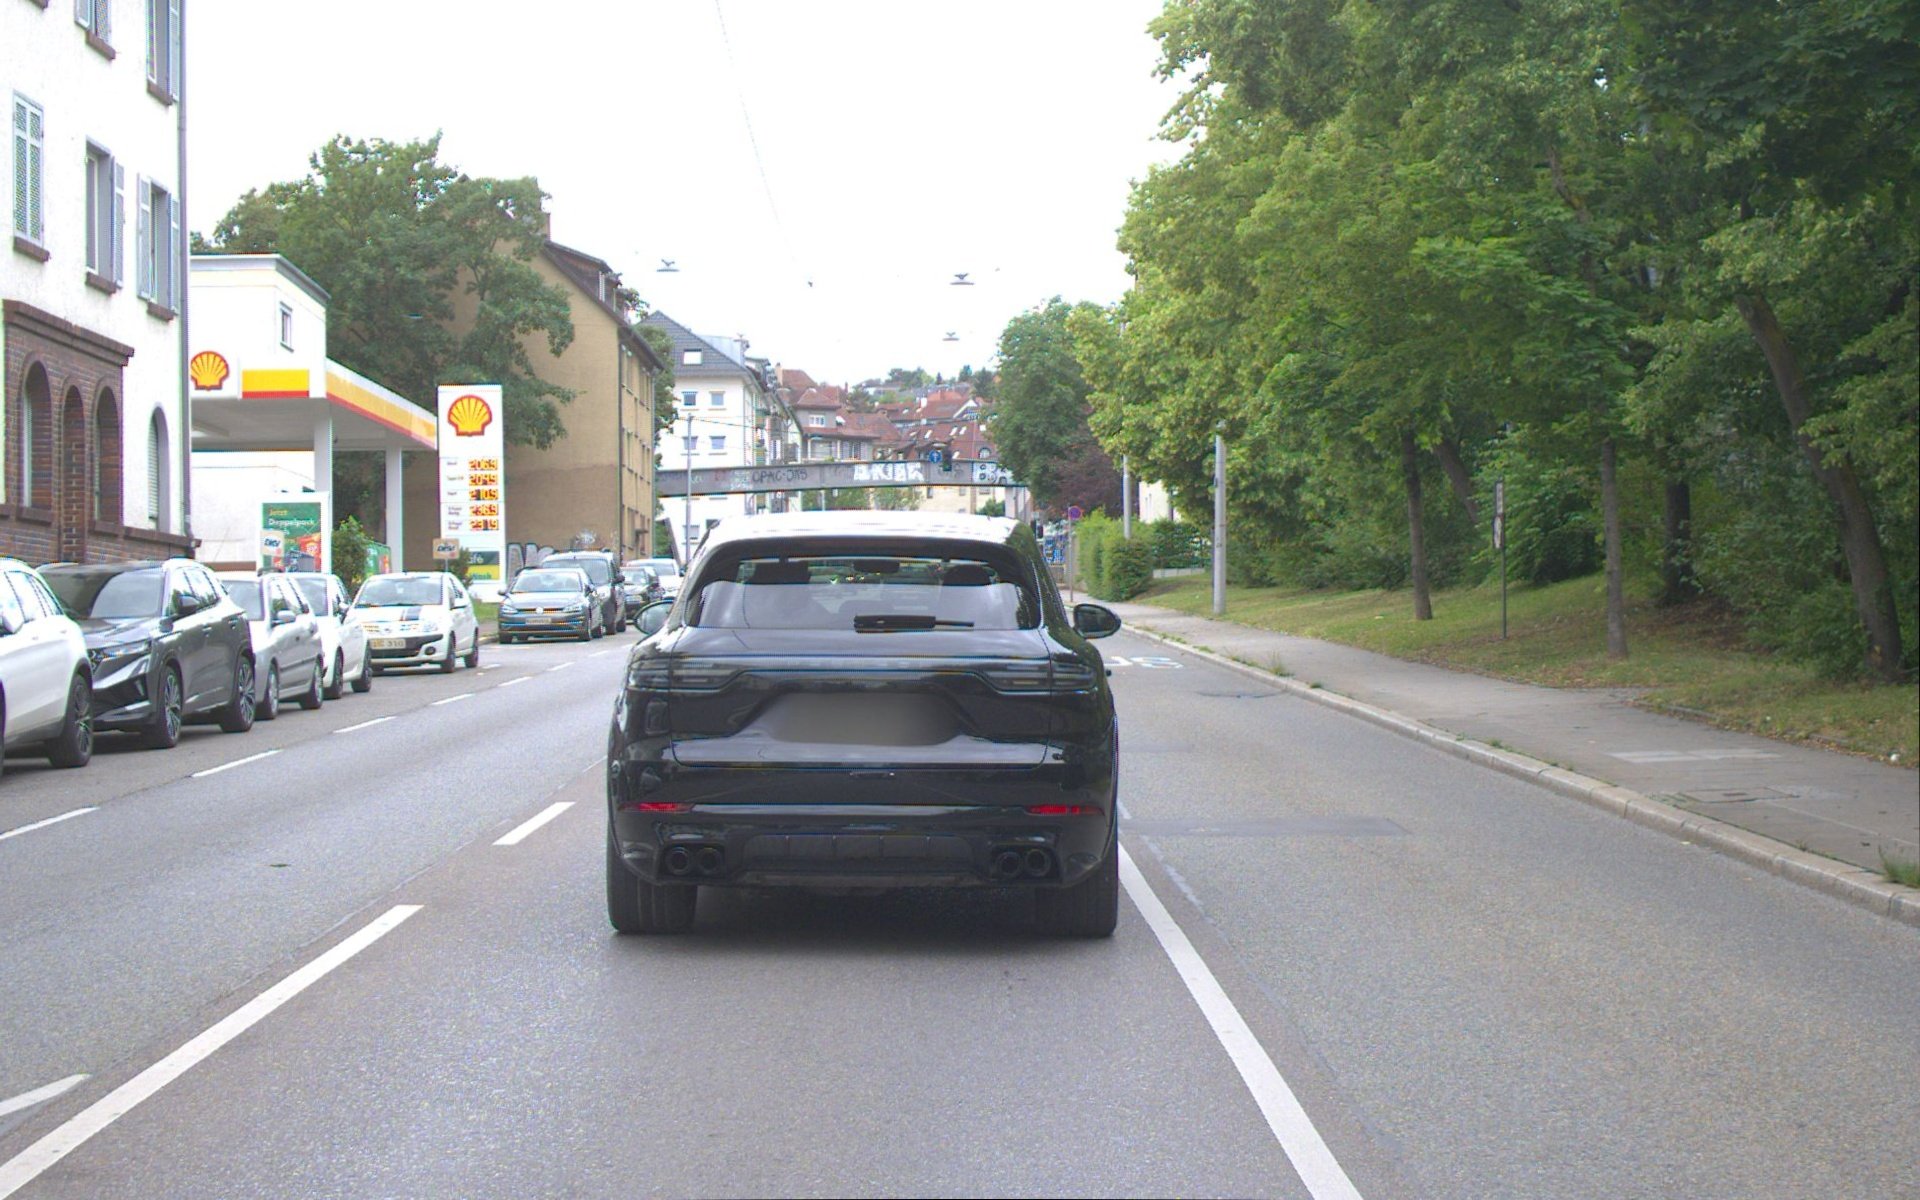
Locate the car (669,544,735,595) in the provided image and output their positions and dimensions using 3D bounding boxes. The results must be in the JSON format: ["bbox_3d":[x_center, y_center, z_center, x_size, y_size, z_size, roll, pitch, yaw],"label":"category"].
[{"bbox_3d":[-8.720,-1.049,116.302,1.783,1.603,4.264,-3,1,1],"label":"car"}]

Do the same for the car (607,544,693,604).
[{"bbox_3d":[-8.513,-0.731,94.698,1.915,1.572,4.700,-1,1,0],"label":"car"}]

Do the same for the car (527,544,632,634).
[{"bbox_3d":[-8.150,-0.258,73.954,1.851,1.829,4.702,-2,1,-2],"label":"car"}]

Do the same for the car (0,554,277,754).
[{"bbox_3d":[-7.445,0.419,30.480,1.727,1.593,4.501,-1,1,2],"label":"car"}]

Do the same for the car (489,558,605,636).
[{"bbox_3d":[-8.153,-0.090,68.192,1.790,1.445,4.218,-2,1,-1],"label":"car"}]

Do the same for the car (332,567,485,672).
[{"bbox_3d":[-7.999,0.257,50.154,1.619,1.420,3.665,-1,1,0],"label":"car"}]

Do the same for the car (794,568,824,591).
[{"bbox_3d":[-9.839,-1.331,224.211,1.765,1.503,4.000,-1,0,0],"label":"car"}]

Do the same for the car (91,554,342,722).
[{"bbox_3d":[-7.659,0.348,35.775,1.727,1.553,4.082,-3,1,-1],"label":"car"}]

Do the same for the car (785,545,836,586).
[{"bbox_3d":[-5.831,-1.357,134.634,1.797,1.520,4.000,-2,1,-1],"label":"car"}]

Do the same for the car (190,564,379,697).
[{"bbox_3d":[-7.959,0.325,40.767,1.547,1.470,3.604,-1,1,-1],"label":"car"}]

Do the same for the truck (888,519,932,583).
[{"bbox_3d":[-2.739,-2.660,188.798,2.266,3.413,9.878,-1,0,-1],"label":"truck"}]

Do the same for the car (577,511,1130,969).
[{"bbox_3d":[-0.392,0.462,14.410,1.993,1.656,4.000,0,1,0],"label":"car"}]

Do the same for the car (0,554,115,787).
[{"bbox_3d":[-7.687,0.499,25.331,1.845,1.616,4.644,-1,1,-1],"label":"car"}]
